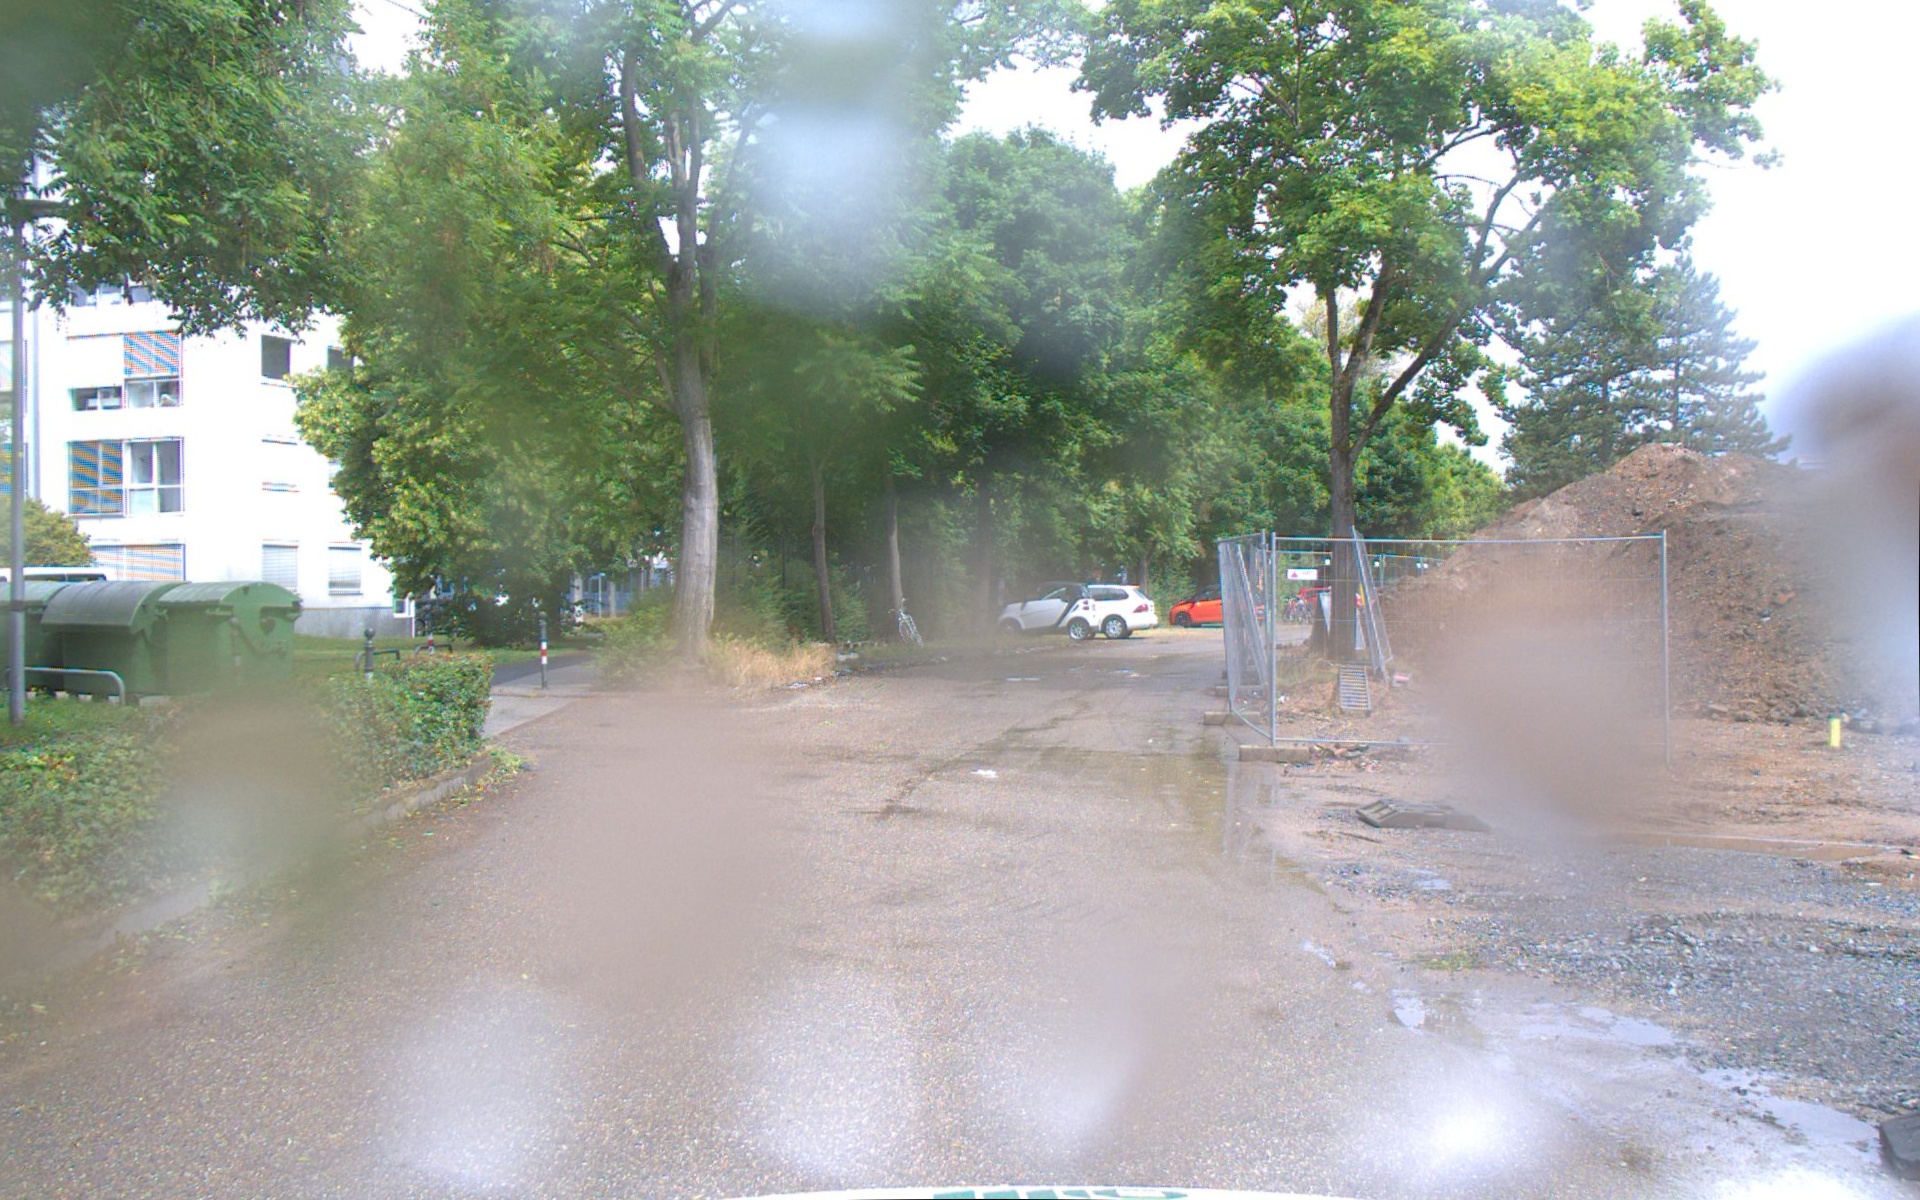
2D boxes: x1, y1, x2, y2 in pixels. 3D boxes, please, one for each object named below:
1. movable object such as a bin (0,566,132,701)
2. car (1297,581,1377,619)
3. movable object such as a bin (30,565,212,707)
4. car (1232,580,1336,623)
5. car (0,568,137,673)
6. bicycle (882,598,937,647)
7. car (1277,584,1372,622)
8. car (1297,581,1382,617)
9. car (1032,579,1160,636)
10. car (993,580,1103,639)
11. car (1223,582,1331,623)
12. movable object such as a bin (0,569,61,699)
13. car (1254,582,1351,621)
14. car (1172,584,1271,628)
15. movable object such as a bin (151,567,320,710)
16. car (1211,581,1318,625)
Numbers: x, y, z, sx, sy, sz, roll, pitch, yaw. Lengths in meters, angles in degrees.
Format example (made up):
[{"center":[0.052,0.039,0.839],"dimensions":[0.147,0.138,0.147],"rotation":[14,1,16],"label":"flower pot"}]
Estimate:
[{"center":[-10.640,0.366,19.261],"dimensions":[1.369,1.509,1.168],"rotation":[0,0,20],"label":"movable object such as a bin"},{"center":[17.530,-0.032,76.843],"dimensions":[3.511,1.648,1.871],"rotation":[1,2,17],"label":"car"},{"center":[-9.404,0.383,18.579],"dimensions":[1.369,1.509,1.169],"rotation":[1,0,17],"label":"movable object such as a bin"},{"center":[13.458,0.036,68.707],"dimensions":[4.022,1.679,1.848],"rotation":[1,2,19],"label":"car"},{"center":[-18.519,0.404,31.491],"dimensions":[2.051,1.959,4.885],"rotation":[-1,-1,25],"label":"car"},{"center":[-0.972,0.423,32.145],"dimensions":[0.466,0.875,1.455],"rotation":[1,2,24],"label":"bicycle"},{"center":[16.344,0.109,74.170],"dimensions":[3.905,1.587,1.764],"rotation":[1,2,21],"label":"car"},{"center":[18.156,-0.084,79.079],"dimensions":[3.777,1.600,1.959],"rotation":[1,2,20],"label":"car"},{"center":[3.797,0.195,46.009],"dimensions":[3.358,1.494,1.742],"rotation":[0,1,12],"label":"car"},{"center":[2.358,0.245,43.944],"dimensions":[2.695,1.510,1.594],"rotation":[0,1,12],"label":"car"},{"center":[12.662,0.081,66.013],"dimensions":[3.907,1.522,1.993],"rotation":[1,2,24],"label":"car"},{"center":[-11.920,0.409,19.954],"dimensions":[1.461,1.509,1.169],"rotation":[-1,1,19],"label":"movable object such as a bin"},{"center":[14.673,0.066,70.799],"dimensions":[3.860,1.543,1.807],"rotation":[1,2,20],"label":"car"},{"center":[9.490,0.198,59.979],"dimensions":[3.220,1.449,1.591],"rotation":[1,2,27],"label":"car"},{"center":[-7.958,0.412,18.168],"dimensions":[1.455,1.499,1.101],"rotation":[-1,-1,34],"label":"movable object such as a bin"},{"center":[11.809,0.106,64.049],"dimensions":[3.718,1.555,1.908],"rotation":[1,2,25],"label":"car"}]
